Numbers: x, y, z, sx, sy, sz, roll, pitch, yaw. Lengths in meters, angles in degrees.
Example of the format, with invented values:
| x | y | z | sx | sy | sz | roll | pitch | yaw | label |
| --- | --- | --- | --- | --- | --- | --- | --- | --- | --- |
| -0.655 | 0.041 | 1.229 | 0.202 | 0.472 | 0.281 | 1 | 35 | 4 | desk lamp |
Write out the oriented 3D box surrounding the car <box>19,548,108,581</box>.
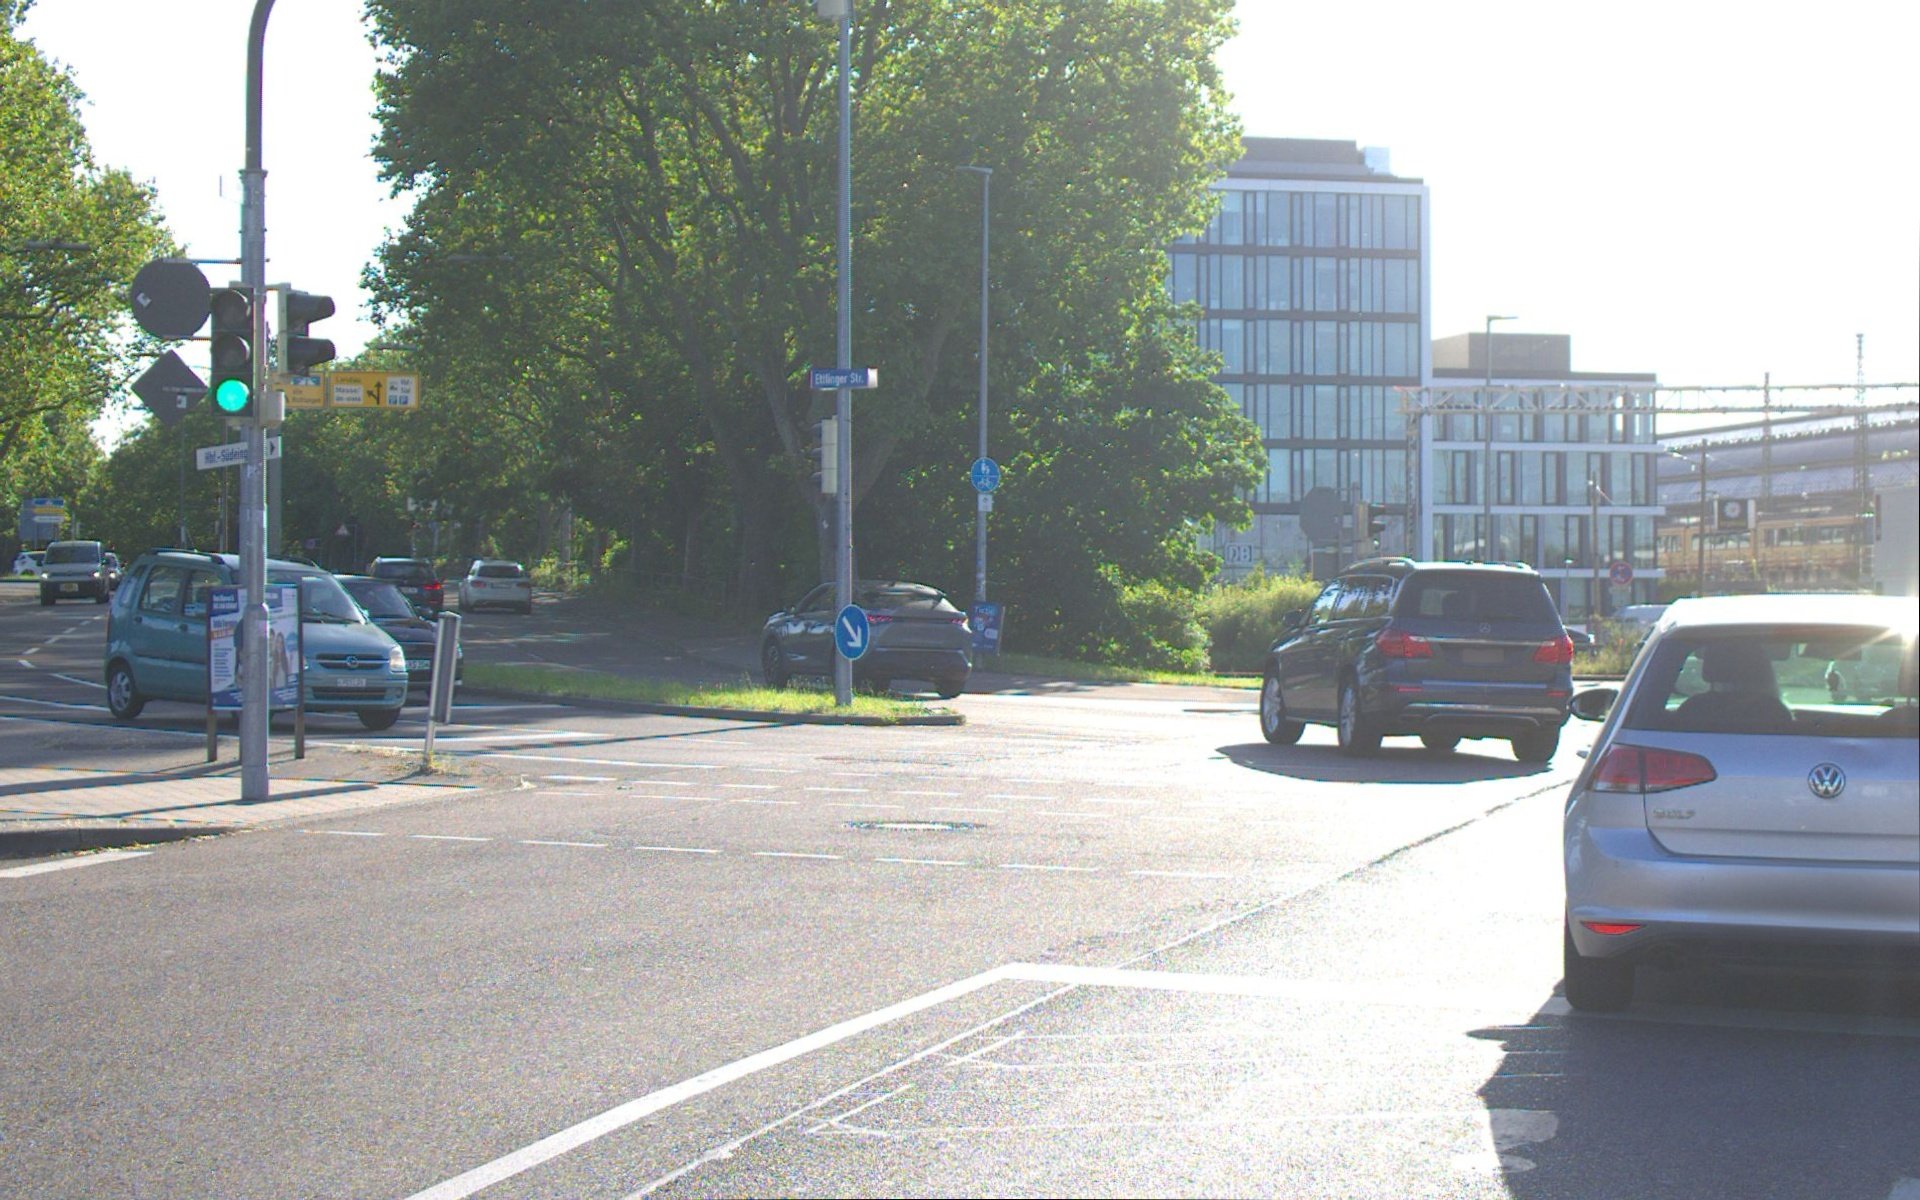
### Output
| x | y | z | sx | sy | sz | roll | pitch | yaw | label |
| --- | --- | --- | --- | --- | --- | --- | --- | --- | --- |
| -44.891 | -1.786 | 172.140 | 3.986 | 1.634 | 2.000 | 0 | 0 | -24 | car |

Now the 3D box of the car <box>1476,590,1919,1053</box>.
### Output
| x | y | z | sx | sy | sz | roll | pitch | yaw | label |
| --- | --- | --- | --- | --- | --- | --- | --- | --- | --- |
| 3.181 | 0.694 | 12.720 | 1.972 | 1.422 | 3.933 | 1 | 0 | 17 | car |

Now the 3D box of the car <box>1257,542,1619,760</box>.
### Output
| x | y | z | sx | sy | sz | roll | pitch | yaw | label |
| --- | --- | --- | --- | --- | --- | --- | --- | --- | --- |
| 4.404 | 0.440 | 32.520 | 2.112 | 1.881 | 4.814 | 1 | 0 | -8 | car |

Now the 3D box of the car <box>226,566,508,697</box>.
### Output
| x | y | z | sx | sy | sz | roll | pitch | yaw | label |
| --- | --- | --- | --- | --- | --- | --- | --- | --- | --- |
| -7.026 | 0.349 | 40.451 | 1.902 | 1.422 | 3.937 | 1 | 0 | -32 | car |

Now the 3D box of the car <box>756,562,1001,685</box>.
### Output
| x | y | z | sx | sy | sz | roll | pitch | yaw | label |
| --- | --- | --- | --- | --- | --- | --- | --- | --- | --- |
| -1.244 | 0.319 | 50.222 | 1.942 | 1.707 | 4.201 | 1 | 0 | -27 | car |

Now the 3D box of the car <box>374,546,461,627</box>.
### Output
| x | y | z | sx | sy | sz | roll | pitch | yaw | label |
| --- | --- | --- | --- | --- | --- | --- | --- | --- | --- |
| -12.243 | -0.311 | 77.705 | 1.853 | 1.737 | 4.267 | 1 | 0 | -9 | car |

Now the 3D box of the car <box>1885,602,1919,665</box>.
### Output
| x | y | z | sx | sy | sz | roll | pitch | yaw | label |
| --- | --- | --- | --- | --- | --- | --- | --- | --- | --- |
| 28.829 | 1.006 | 98.765 | 3.986 | 1.782 | 1.655 | 2 | 0 | -4 | car |

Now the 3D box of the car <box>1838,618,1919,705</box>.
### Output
| x | y | z | sx | sy | sz | roll | pitch | yaw | label |
| --- | --- | --- | --- | --- | --- | --- | --- | --- | --- |
| 17.013 | 1.085 | 62.134 | 1.748 | 1.471 | 3.999 | 1 | 0 | 8 | car |

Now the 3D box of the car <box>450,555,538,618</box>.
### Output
| x | y | z | sx | sy | sz | roll | pitch | yaw | label |
| --- | --- | --- | --- | --- | --- | --- | --- | --- | --- |
| -12.776 | -0.374 | 94.070 | 1.853 | 1.644 | 4.267 | 1 | 0 | -15 | car |

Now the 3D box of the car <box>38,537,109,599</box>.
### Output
| x | y | z | sx | sy | sz | roll | pitch | yaw | label |
| --- | --- | --- | --- | --- | --- | --- | --- | --- | --- |
| -25.790 | -0.941 | 100.071 | 1.853 | 1.737 | 4.267 | 1 | 0 | -13 | car |

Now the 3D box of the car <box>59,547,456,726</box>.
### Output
| x | y | z | sx | sy | sz | roll | pitch | yaw | label |
| --- | --- | --- | --- | --- | --- | --- | --- | --- | --- |
| -6.966 | 0.331 | 33.870 | 1.915 | 1.630 | 4.119 | 1 | 0 | -43 | car |

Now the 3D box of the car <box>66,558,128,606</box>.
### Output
| x | y | z | sx | sy | sz | roll | pitch | yaw | label |
| --- | --- | --- | --- | --- | --- | --- | --- | --- | --- |
| -30.466 | -0.643 | 121.452 | 1.853 | 1.593 | 4.326 | 1 | 0 | -11 | car |

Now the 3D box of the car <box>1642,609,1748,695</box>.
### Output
| x | y | z | sx | sy | sz | roll | pitch | yaw | label |
| --- | --- | --- | --- | --- | --- | --- | --- | --- | --- |
| 13.486 | 0.936 | 63.233 | 1.749 | 1.471 | 3.998 | 1 | 0 | 10 | car |
